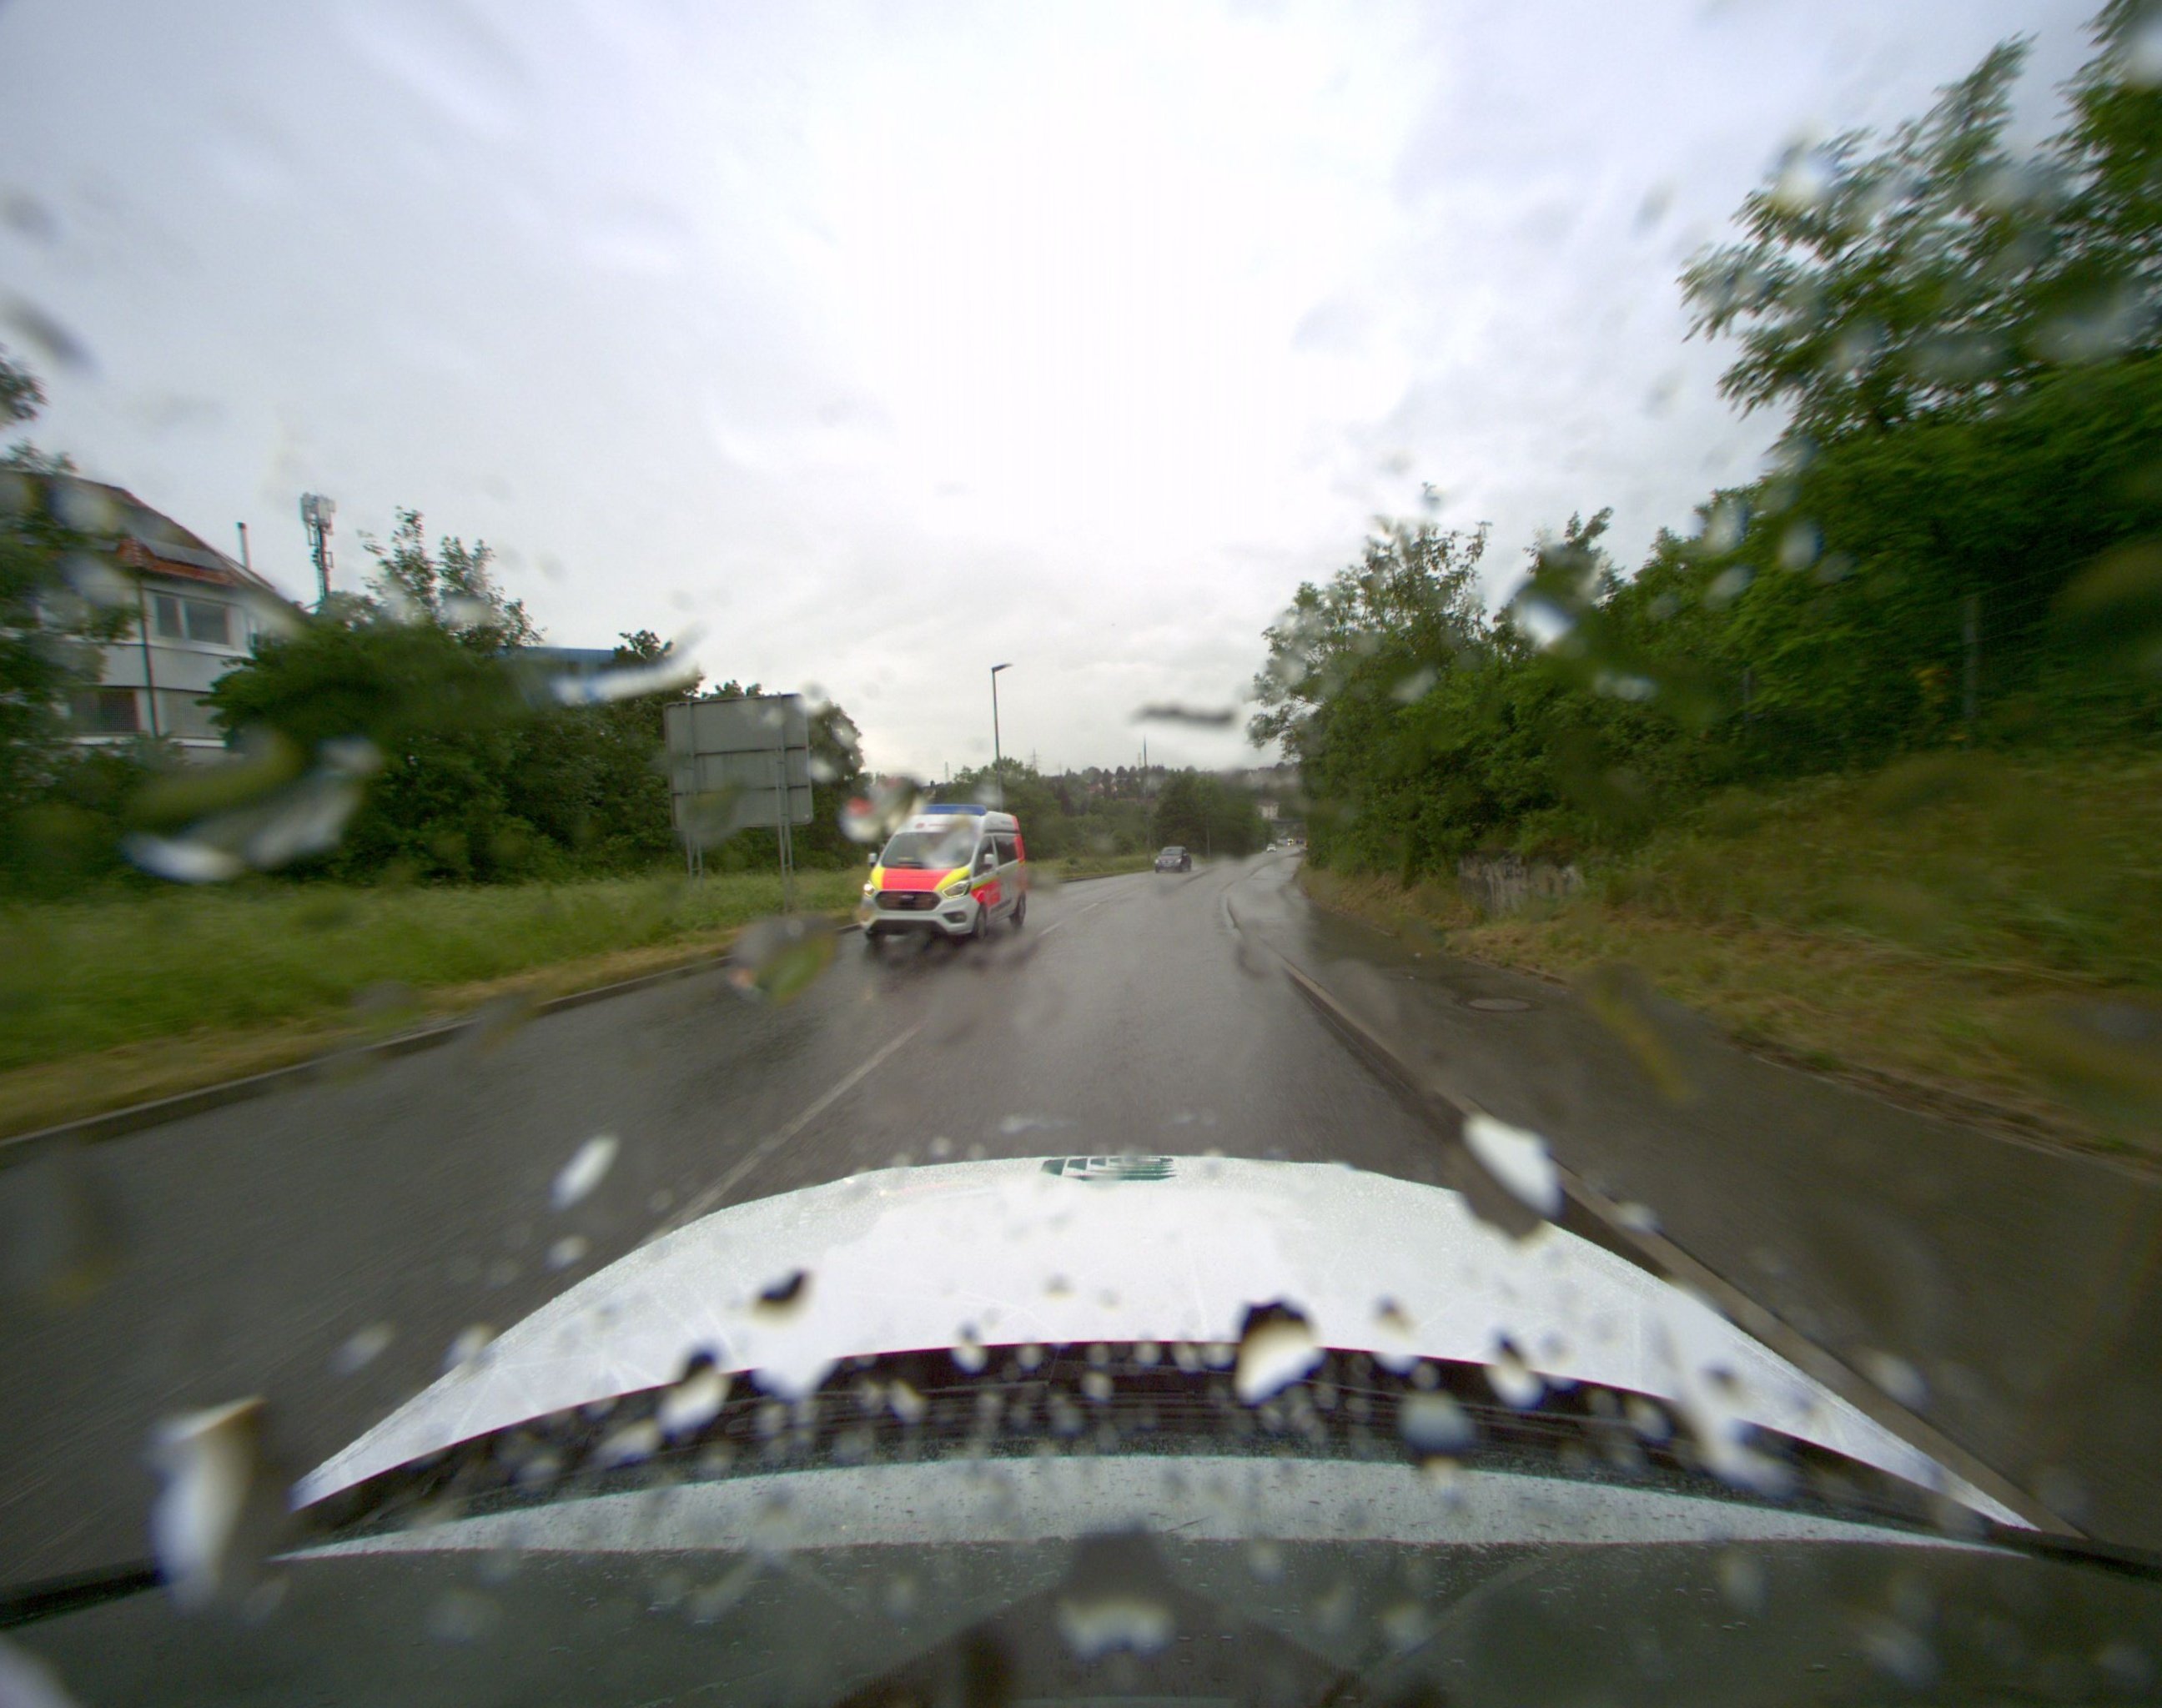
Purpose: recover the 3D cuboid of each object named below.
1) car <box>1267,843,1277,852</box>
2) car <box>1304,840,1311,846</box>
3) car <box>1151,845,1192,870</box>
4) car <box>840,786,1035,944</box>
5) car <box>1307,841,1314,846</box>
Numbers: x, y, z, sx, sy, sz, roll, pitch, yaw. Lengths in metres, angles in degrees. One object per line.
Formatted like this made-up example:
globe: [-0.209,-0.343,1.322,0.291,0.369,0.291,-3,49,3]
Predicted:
car: [34.786,-1.118,148.289,1.627,1.488,3.467,-4,0,13]
car: [66.038,-3.231,237.454,1.754,1.563,4.018,-4,0,18]
car: [5.868,0.218,52.258,1.850,1.552,4.285,0,0,17]
car: [-2.379,0.162,15.279,2.033,2.417,5.467,0,0,8]
car: [64.975,-3.030,230.875,1.754,1.380,4.018,-4,0,18]
